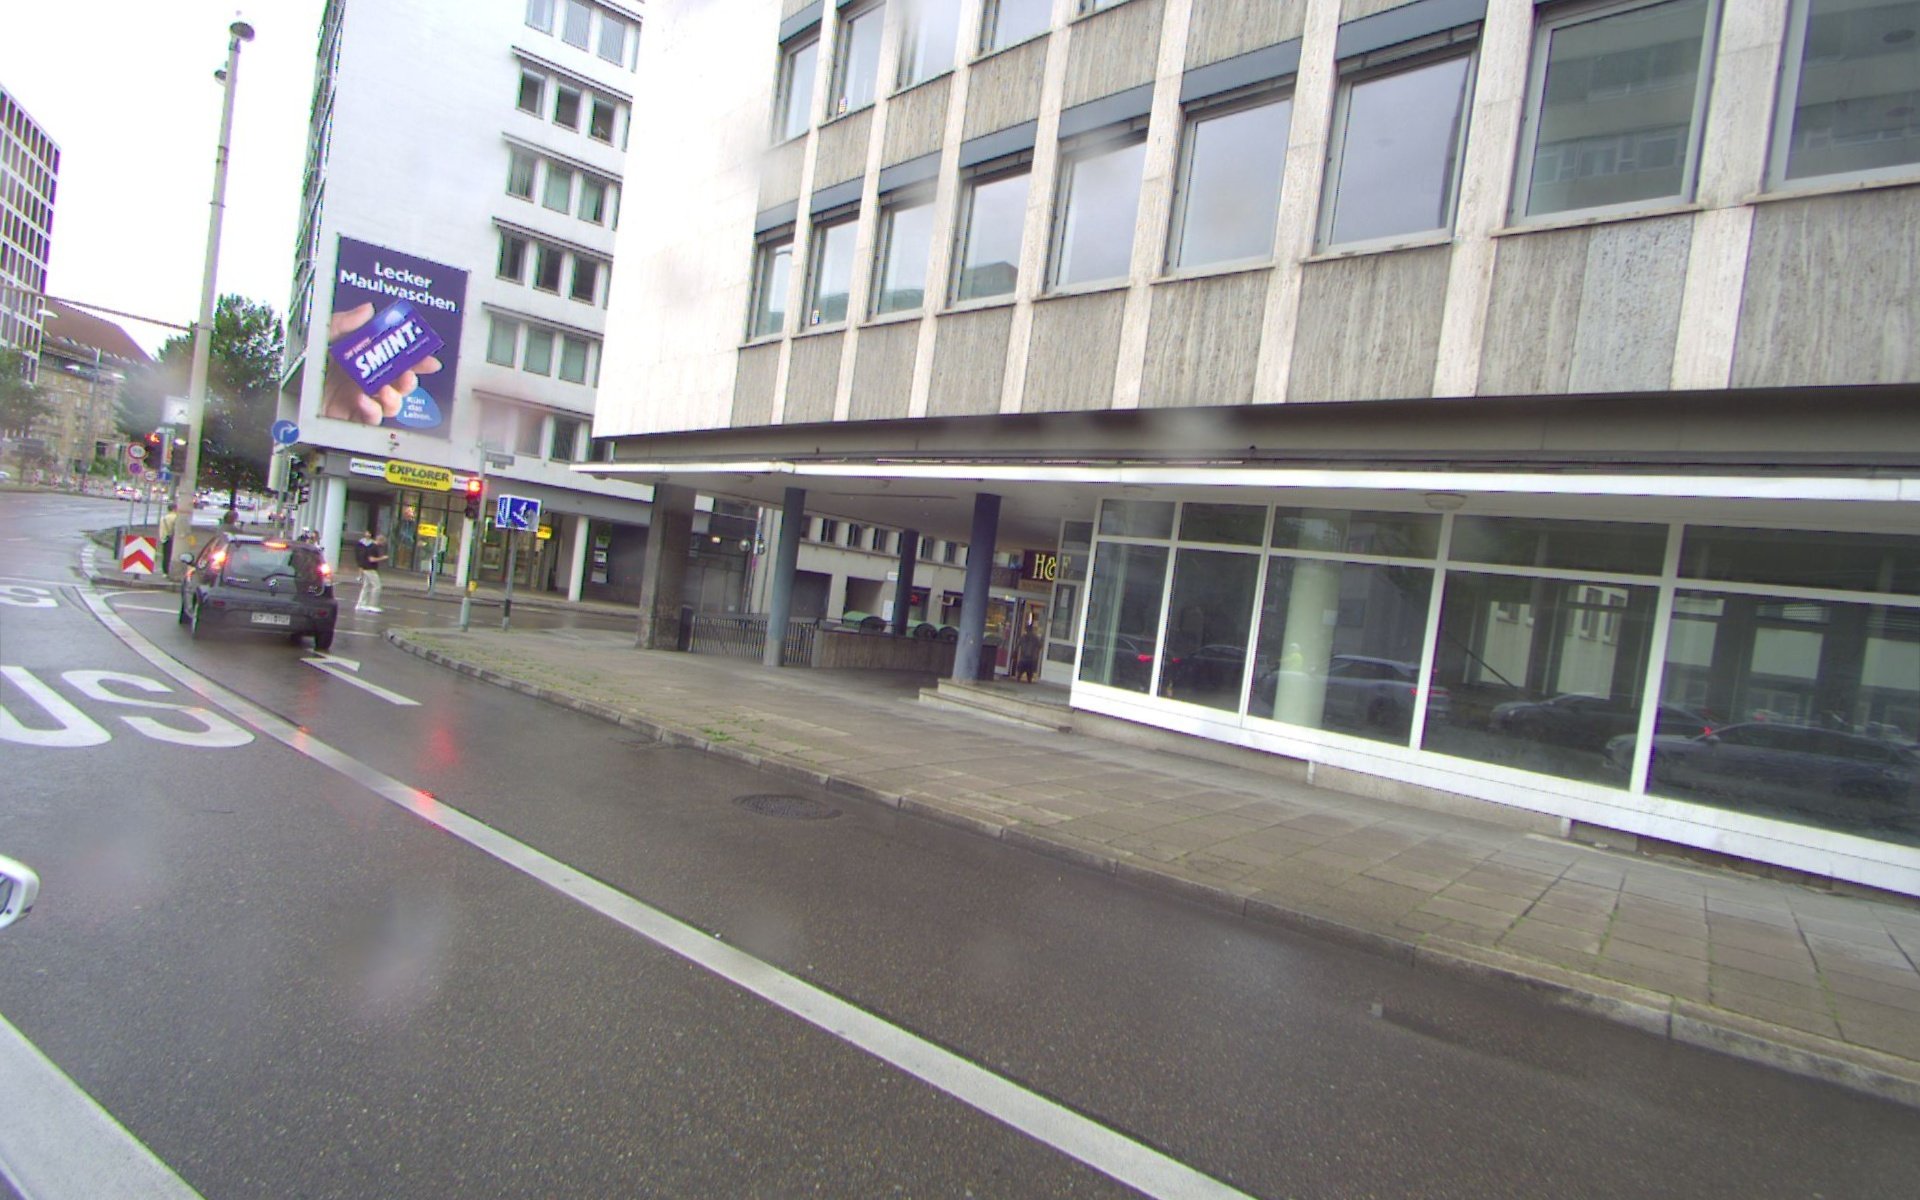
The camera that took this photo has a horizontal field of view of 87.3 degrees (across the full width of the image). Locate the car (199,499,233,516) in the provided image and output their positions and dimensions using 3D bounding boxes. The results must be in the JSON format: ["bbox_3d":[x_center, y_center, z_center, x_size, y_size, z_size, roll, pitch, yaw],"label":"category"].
[{"bbox_3d":[-117.741,-14.612,159.173,3.961,2.037,1.983,9,-1,-32],"label":"car"}]

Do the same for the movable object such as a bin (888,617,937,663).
[{"bbox_3d":[-1.676,1.402,35.233,1.095,1.399,1.186,7,1,-37],"label":"movable object such as a bin"}]

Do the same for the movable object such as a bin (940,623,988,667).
[{"bbox_3d":[0.151,1.633,36.641,1.095,1.399,1.186,7,1,-37],"label":"movable object such as a bin"}]

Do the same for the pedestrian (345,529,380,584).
[{"bbox_3d":[-20.976,-1.526,35.333,0.660,1.815,0.771,7,0,-15],"label":"pedestrian"}]

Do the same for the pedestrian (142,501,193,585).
[{"bbox_3d":[-18.383,-1.332,23.357,0.745,1.820,0.808,7,1,-38],"label":"pedestrian"}]

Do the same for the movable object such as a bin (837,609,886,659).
[{"bbox_3d":[-3.279,1.127,33.535,0.961,1.447,1.268,7,1,-36],"label":"movable object such as a bin"}]

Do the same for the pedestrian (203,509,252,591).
[{"bbox_3d":[-17.391,-1.187,23.880,0.745,1.820,0.808,7,1,-38],"label":"pedestrian"}]

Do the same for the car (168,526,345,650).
[{"bbox_3d":[-10.460,-0.236,14.843,1.566,1.446,3.953,9,-2,-42],"label":"car"}]

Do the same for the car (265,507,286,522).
[{"bbox_3d":[-91.713,-11.399,134.789,1.680,1.503,3.973,8,-2,-28],"label":"car"}]

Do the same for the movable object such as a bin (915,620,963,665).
[{"bbox_3d":[-0.753,1.507,35.953,1.095,1.399,1.186,7,1,-37],"label":"movable object such as a bin"}]

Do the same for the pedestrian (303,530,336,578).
[{"bbox_3d":[-22.159,-1.592,34.801,0.616,1.561,0.651,8,0,-15],"label":"pedestrian"}]

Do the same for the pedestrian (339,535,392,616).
[{"bbox_3d":[-13.808,-0.573,23.375,0.768,1.752,0.589,7,0,-44],"label":"pedestrian"}]

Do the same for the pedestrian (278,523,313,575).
[{"bbox_3d":[-22.853,-1.728,34.618,0.660,1.675,0.651,8,0,-15],"label":"pedestrian"}]

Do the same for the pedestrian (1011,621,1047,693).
[{"bbox_3d":[1.863,1.526,27.040,0.697,1.825,0.801,8,0,7],"label":"pedestrian"}]

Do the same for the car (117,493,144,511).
[{"bbox_3d":[-90.645,-10.687,109.955,1.878,1.662,3.962,8,-1,-35],"label":"car"}]

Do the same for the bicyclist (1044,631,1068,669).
[{"bbox_3d":[4.346,2.261,45.644,0.764,1.588,0.527,7,0,-40],"label":"bicyclist"}]
